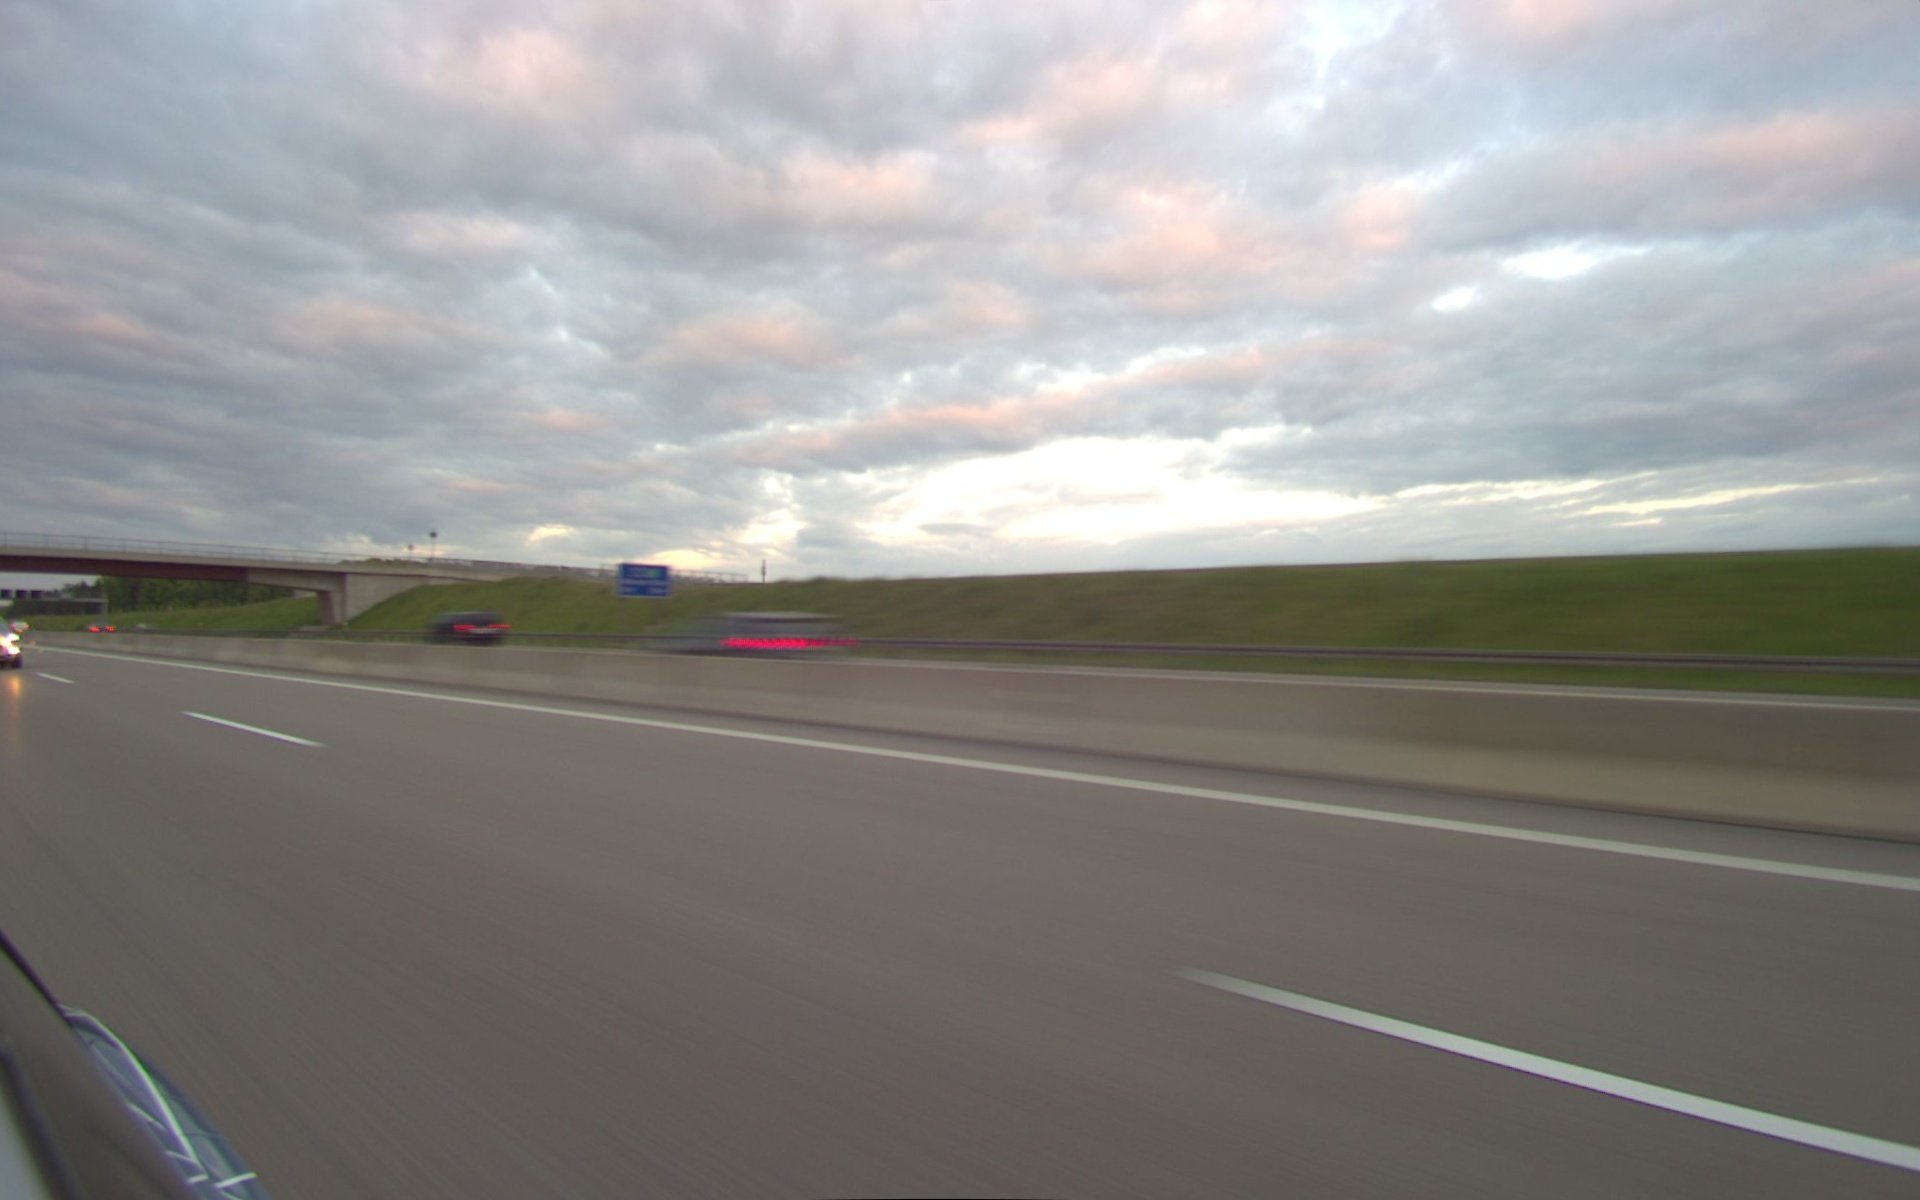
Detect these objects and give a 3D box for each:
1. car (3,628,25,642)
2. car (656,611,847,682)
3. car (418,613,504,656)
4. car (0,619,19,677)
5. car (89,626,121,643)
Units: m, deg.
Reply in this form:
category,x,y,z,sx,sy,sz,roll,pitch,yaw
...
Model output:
category,x,y,z,sx,sy,sz,roll,pitch,yaw
car,-138.510,5.061,148.177,4.891,1.950,1.804,-2,0,41
car,-4.757,0.994,22.676,4.670,1.446,1.791,-2,-2,42
car,-24.338,1.671,49.286,5.088,1.951,1.973,-2,-1,42
car,-30.881,1.464,31.509,5.510,1.705,1.833,-1,-1,42
car,-85.770,3.461,101.520,4.648,1.675,1.805,-2,-1,41
